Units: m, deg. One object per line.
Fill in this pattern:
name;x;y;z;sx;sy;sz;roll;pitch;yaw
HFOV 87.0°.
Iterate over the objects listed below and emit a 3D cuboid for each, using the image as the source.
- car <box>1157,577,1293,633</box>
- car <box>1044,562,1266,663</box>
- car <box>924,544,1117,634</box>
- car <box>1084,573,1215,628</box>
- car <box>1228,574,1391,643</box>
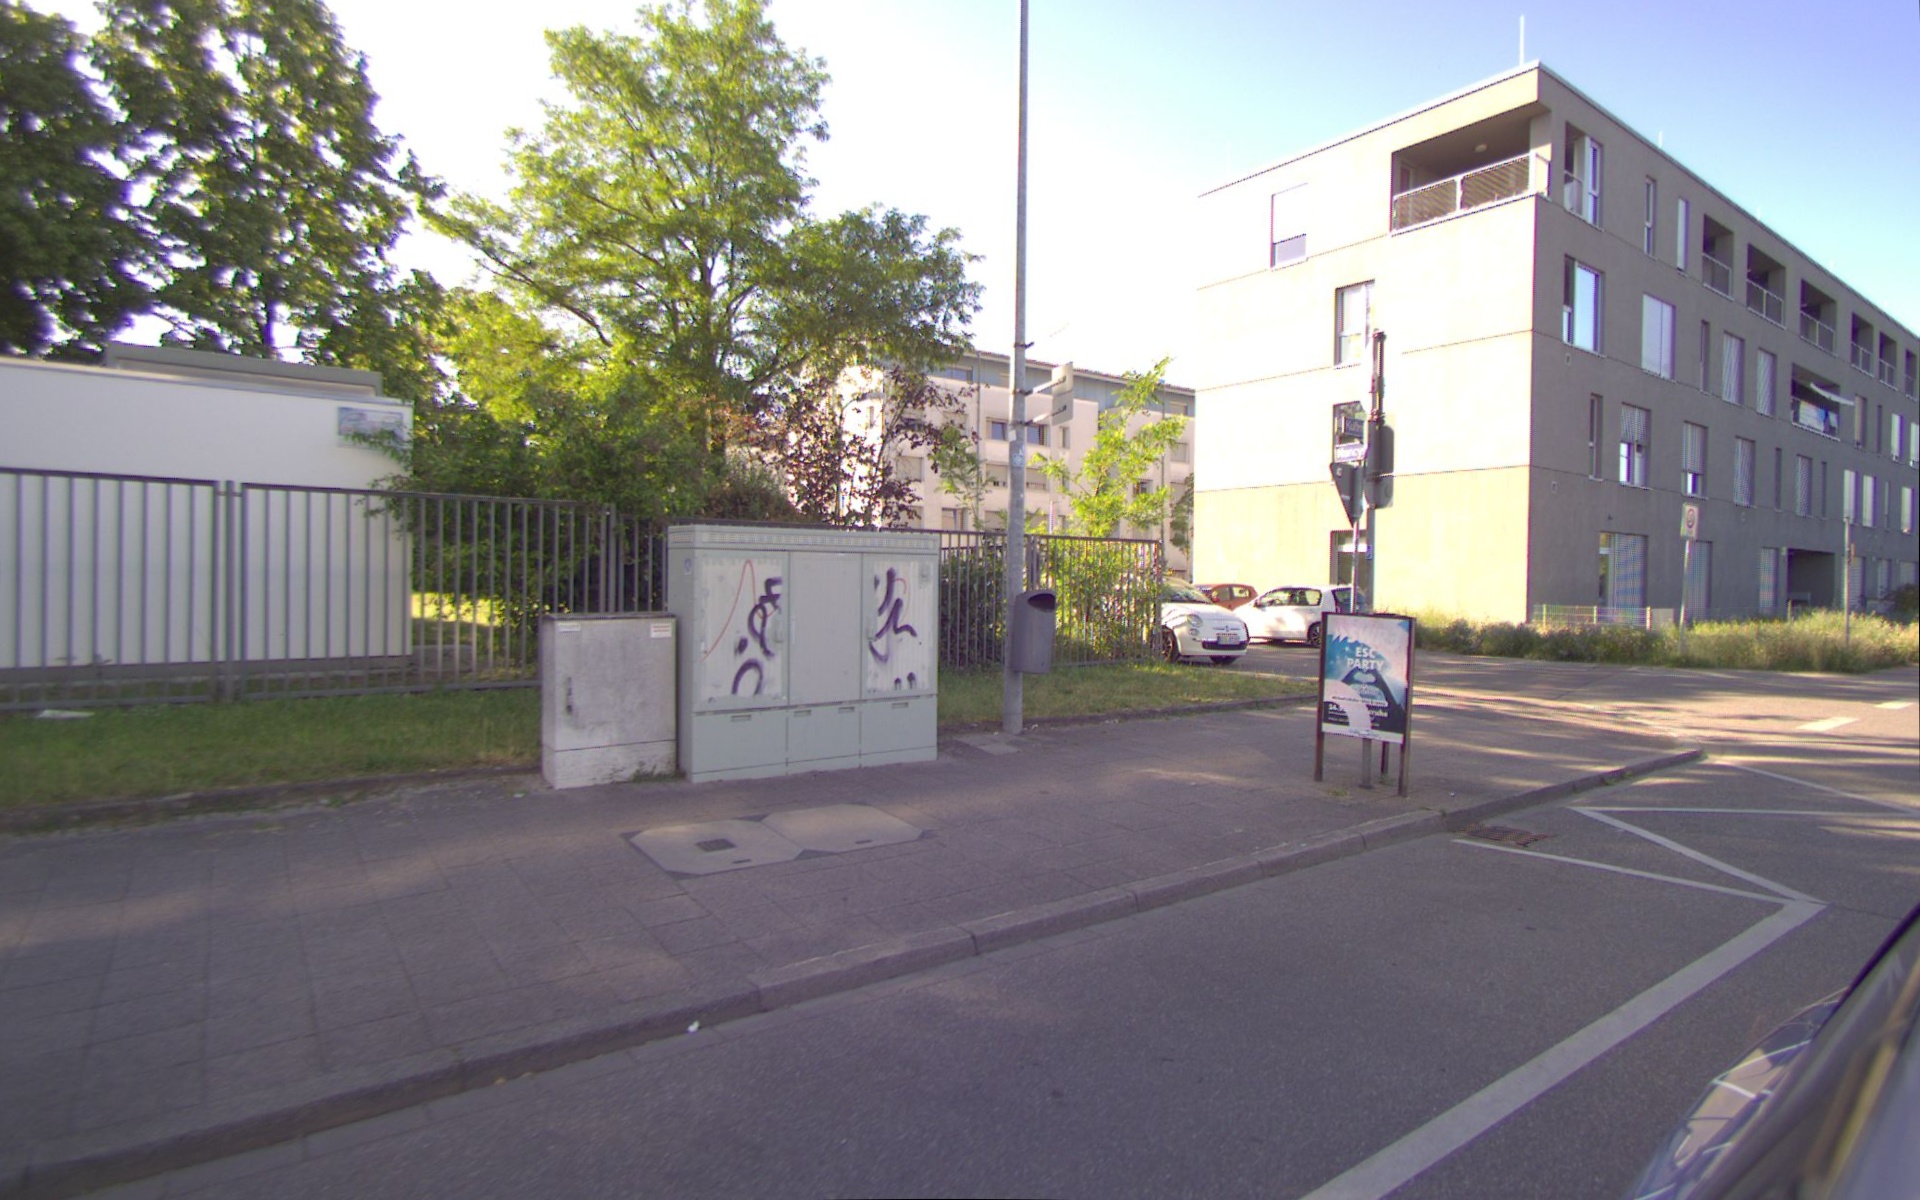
car;7.736;0.113;29.407;3.925;1.488;1.698;0;2;-36
car;3.182;0.150;17.057;1.570;1.504;3.559;1;1;-35
car;1.133;-0.295;20.791;1.722;1.657;4.167;0;2;-35
car;5.854;-0.006;31.119;3.925;1.539;1.698;0;2;-36
car;8.203;0.144;23.972;1.680;1.476;3.341;0;2;-31
